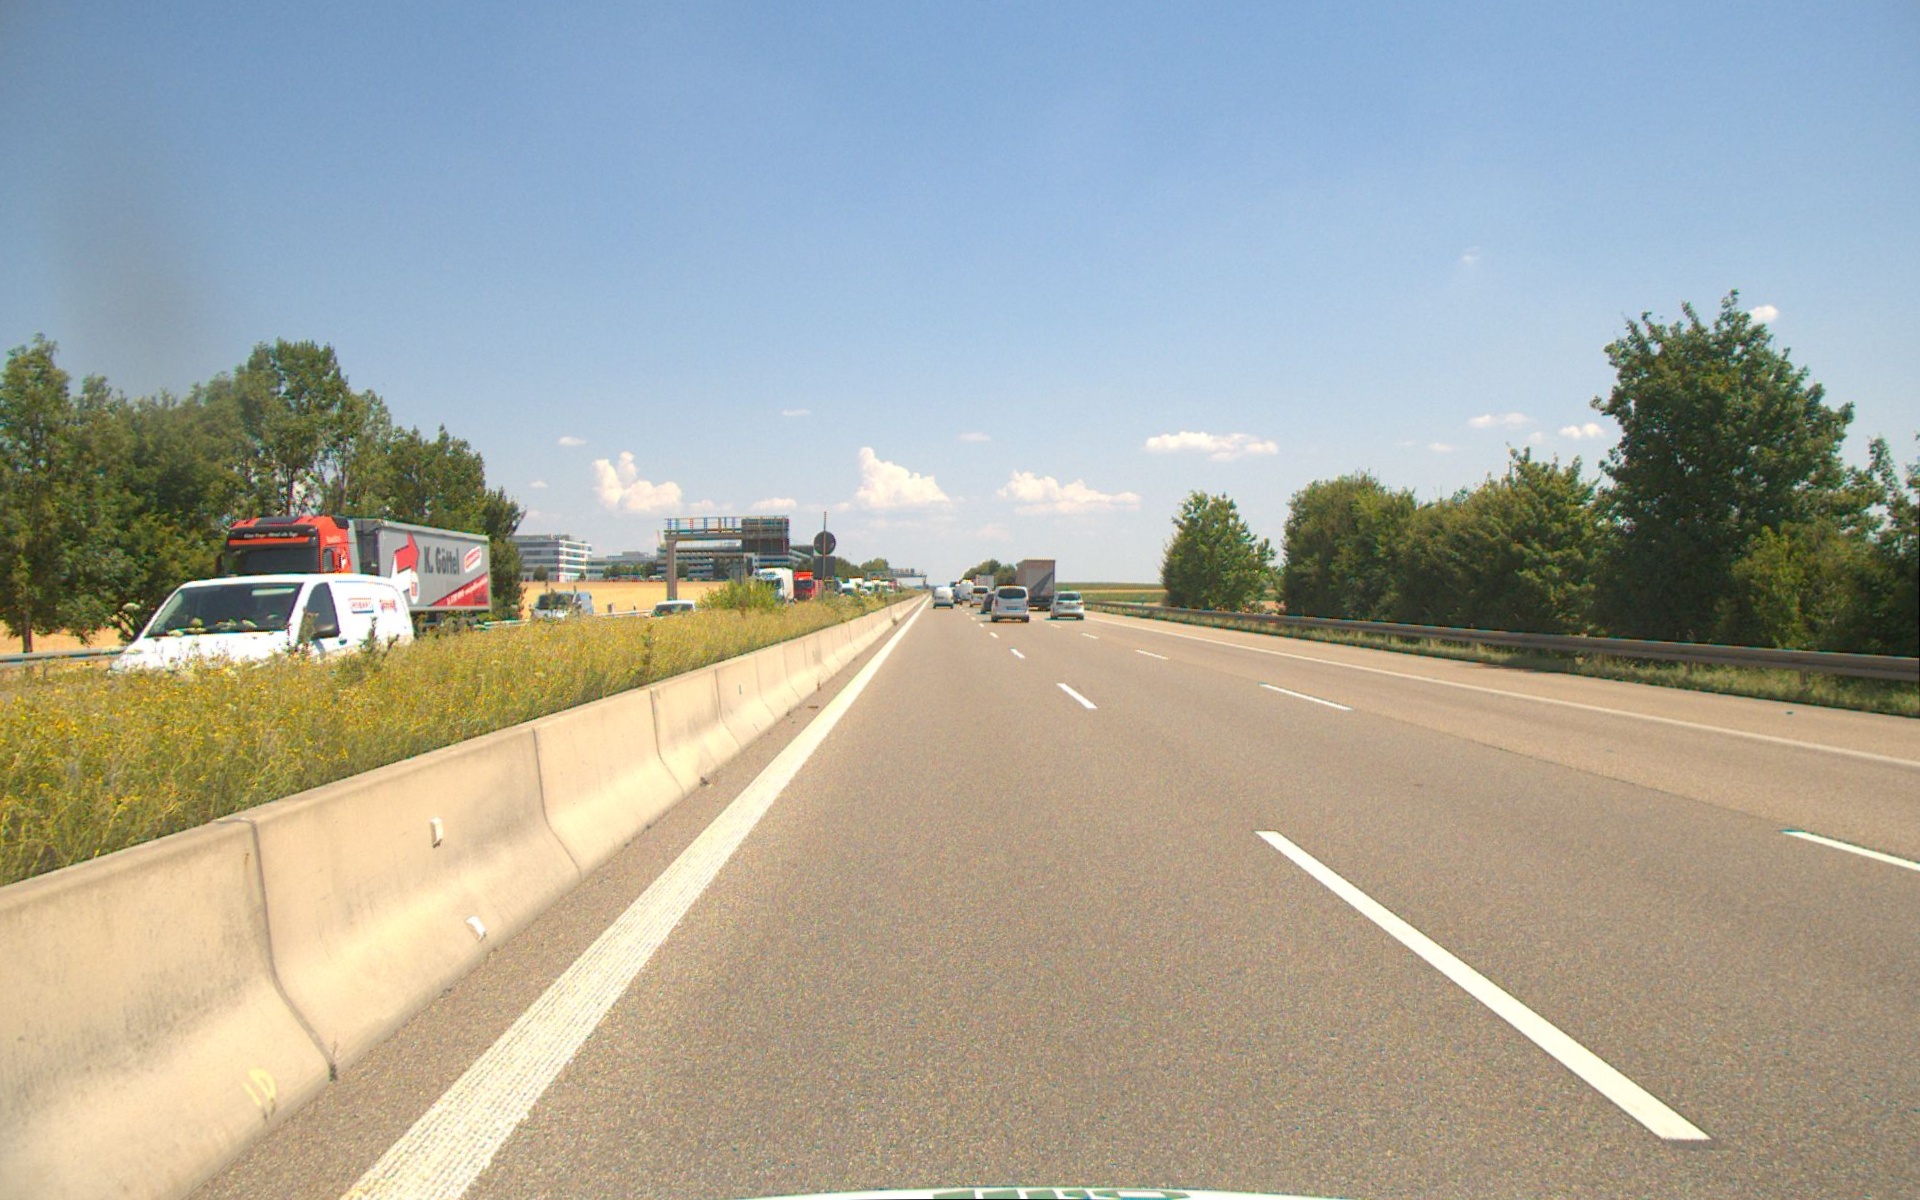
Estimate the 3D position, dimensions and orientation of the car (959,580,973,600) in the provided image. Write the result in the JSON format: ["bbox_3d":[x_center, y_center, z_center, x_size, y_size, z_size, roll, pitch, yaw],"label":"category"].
[{"bbox_3d":[0.760,-1.273,211.382,1.737,2.434,3.999,0,-1,-1],"label":"car"}]

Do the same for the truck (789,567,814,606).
[{"bbox_3d":[-19.349,-1.592,201.709,2.720,4.678,4.722,0,0,-2],"label":"truck"}]

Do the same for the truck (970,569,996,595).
[{"bbox_3d":[3.611,-2.766,259.975,3.738,3.973,9.578,-1,0,-1],"label":"truck"}]

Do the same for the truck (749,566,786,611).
[{"bbox_3d":[-18.560,-1.116,159.632,2.890,4.230,5.470,-2,0,-1],"label":"truck"}]

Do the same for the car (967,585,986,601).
[{"bbox_3d":[1.579,-0.658,158.026,1.737,1.473,3.999,0,-1,-1],"label":"car"}]

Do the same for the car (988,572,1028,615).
[{"bbox_3d":[2.509,-0.323,87.027,1.953,2.157,3.999,0,-1,-1],"label":"car"}]

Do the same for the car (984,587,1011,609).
[{"bbox_3d":[2.632,-0.158,115.763,1.737,1.473,3.999,0,-1,-1],"label":"car"}]

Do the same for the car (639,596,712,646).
[{"bbox_3d":[-8.654,0.604,50.578,1.660,1.441,3.814,-1,0,-2],"label":"car"}]

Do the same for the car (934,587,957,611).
[{"bbox_3d":[-1.277,-0.033,144.643,1.953,2.049,3.999,0,-1,-1],"label":"car"}]

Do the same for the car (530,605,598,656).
[{"bbox_3d":[-16.679,1.249,69.867,1.726,1.986,5.116,-2,0,-2],"label":"car"}]

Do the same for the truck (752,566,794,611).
[{"bbox_3d":[-18.690,-1.171,165.904,2.890,4.230,12.863,-2,0,-1],"label":"truck"}]

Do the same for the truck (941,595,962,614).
[{"bbox_3d":[-0.931,0.476,177.868,2.167,2.049,4.970,-1,0,-2],"label":"truck"}]

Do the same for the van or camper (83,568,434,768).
[{"bbox_3d":[-7.837,0.665,19.142,1.953,1.967,5.200,-1,0,-2],"label":"van or camper"}]

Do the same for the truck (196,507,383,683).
[{"bbox_3d":[-15.954,-0.122,39.654,2.798,3.922,3.999,-2,0,-1],"label":"truck"}]

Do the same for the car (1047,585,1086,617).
[{"bbox_3d":[6.255,0.082,97.422,1.953,1.825,3.999,0,-1,-1],"label":"car"}]

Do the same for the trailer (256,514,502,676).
[{"bbox_3d":[-16.092,-0.157,47.094,2.798,3.922,12.183,-2,0,-1],"label":"trailer"}]

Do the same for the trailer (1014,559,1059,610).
[{"bbox_3d":[6.288,-1.207,136.823,3.211,4.037,9.110,0,-1,-1],"label":"trailer"}]
